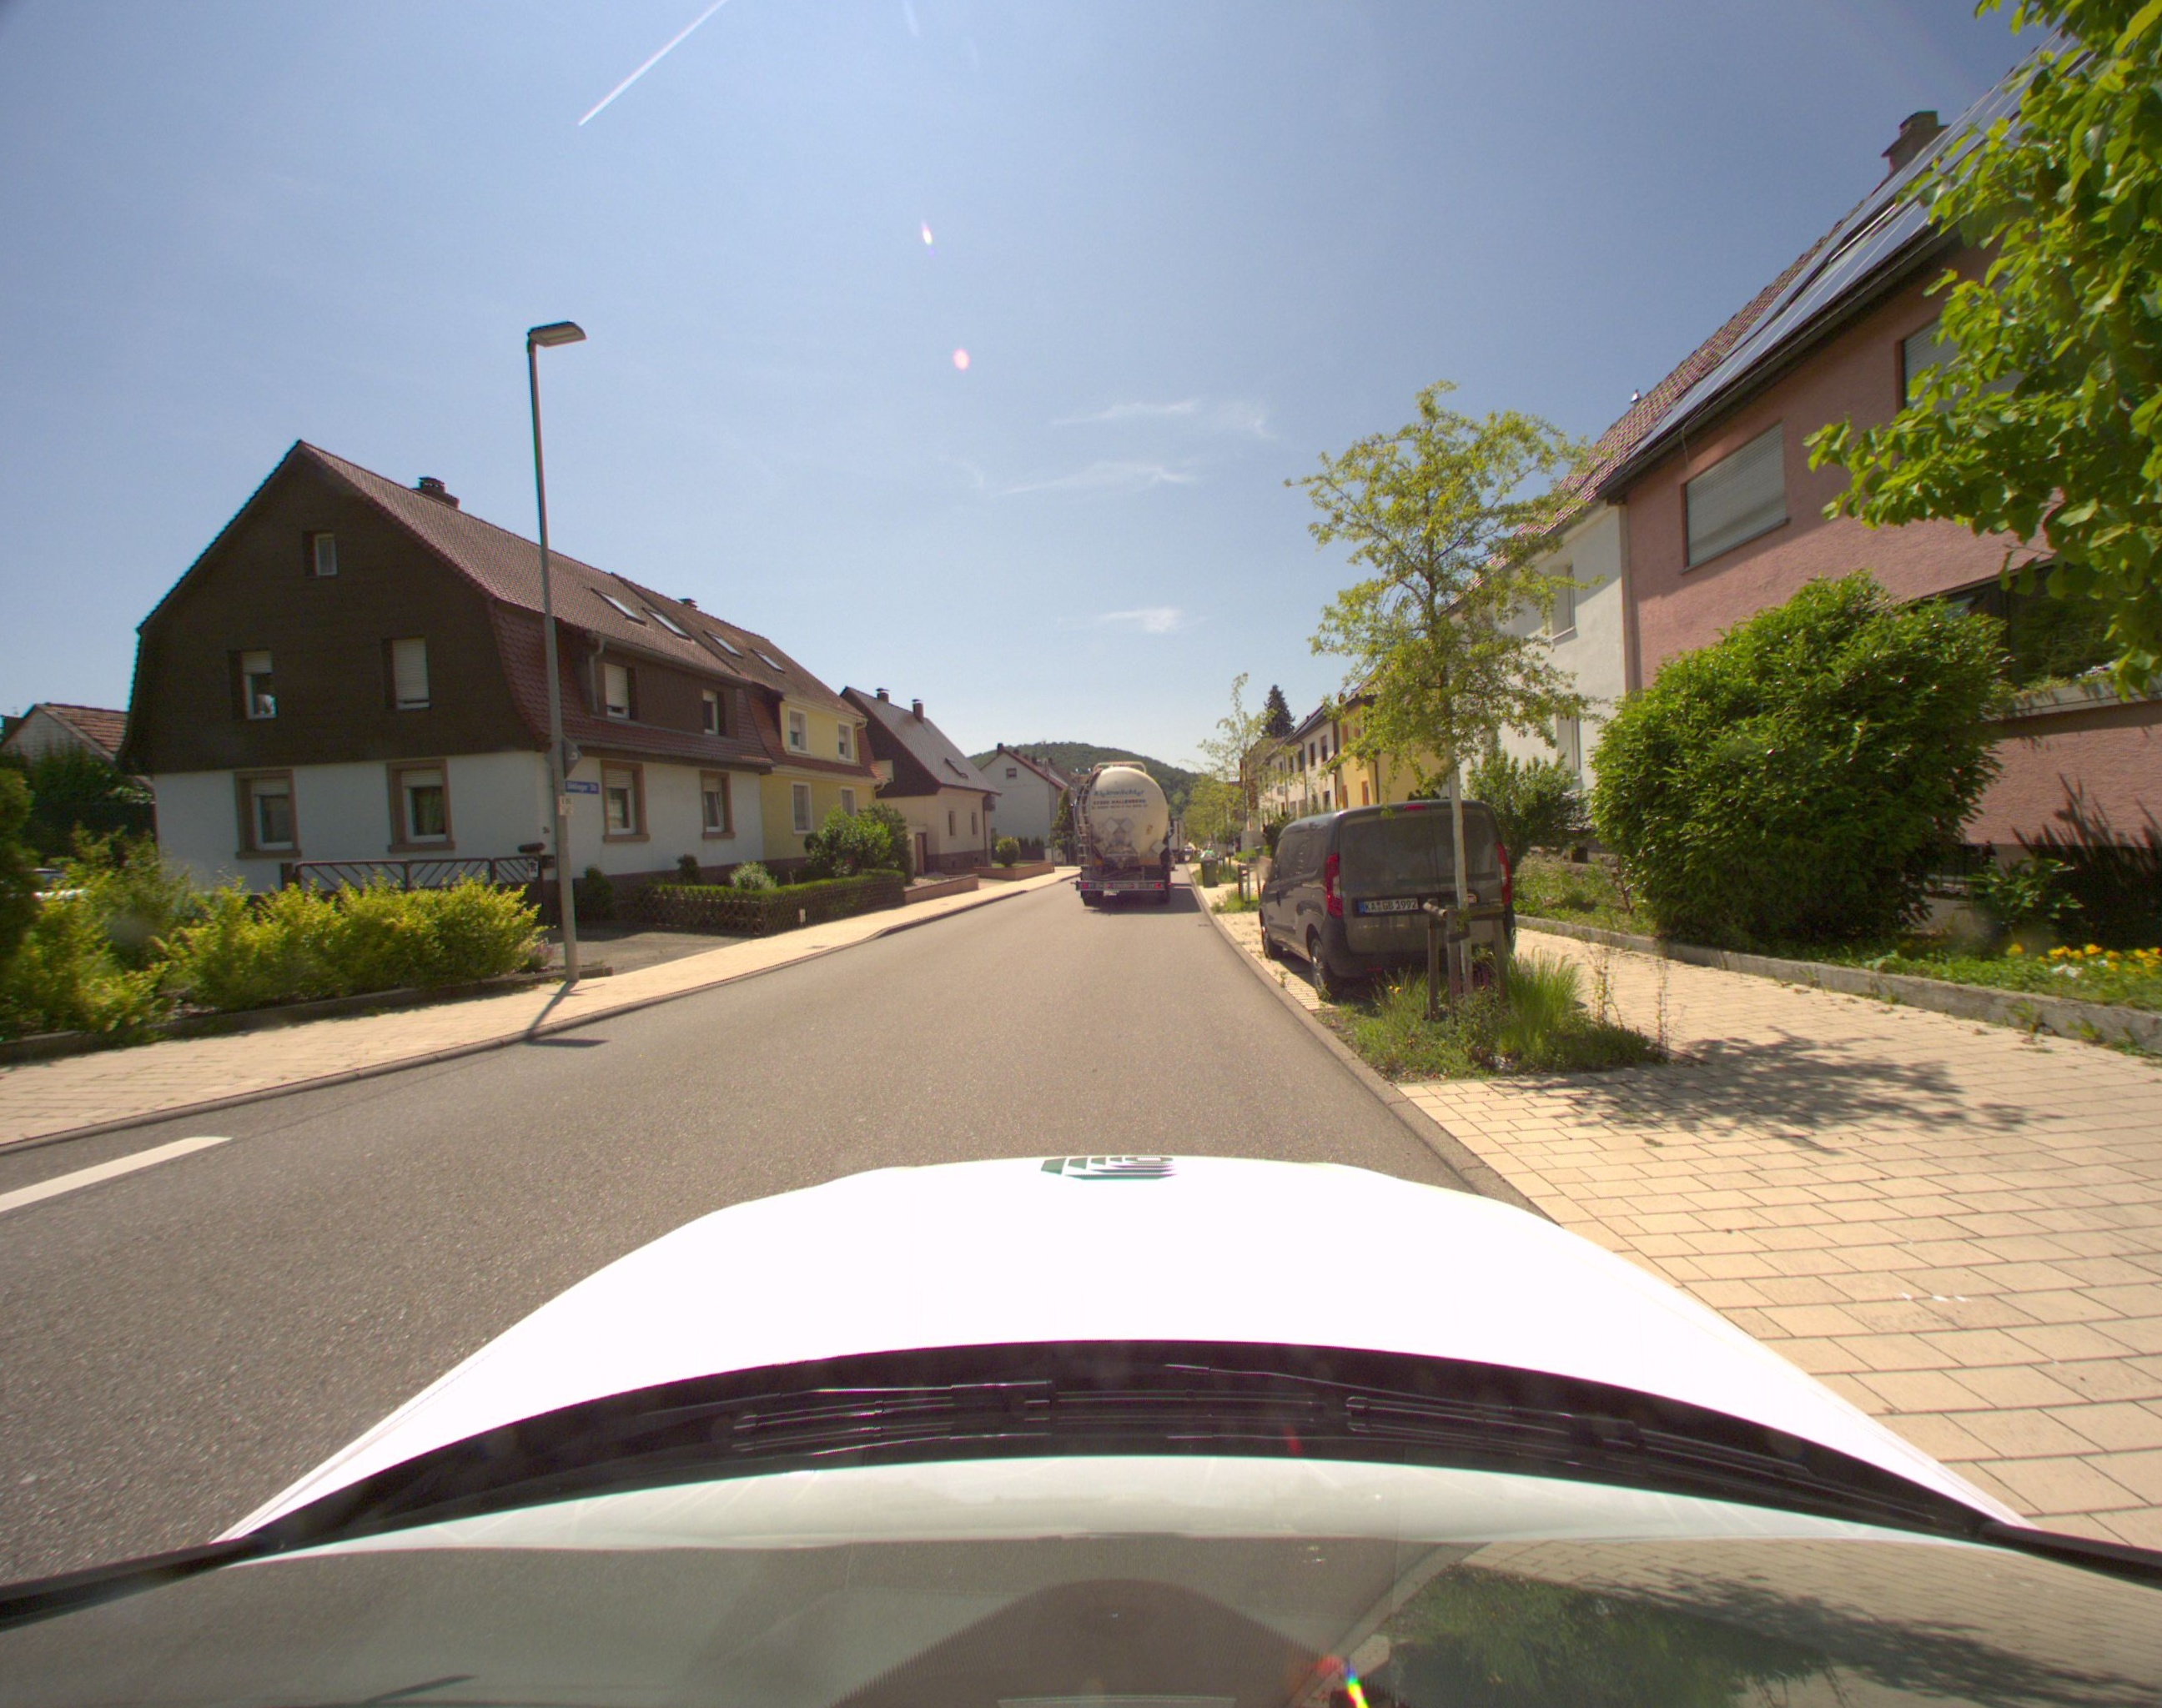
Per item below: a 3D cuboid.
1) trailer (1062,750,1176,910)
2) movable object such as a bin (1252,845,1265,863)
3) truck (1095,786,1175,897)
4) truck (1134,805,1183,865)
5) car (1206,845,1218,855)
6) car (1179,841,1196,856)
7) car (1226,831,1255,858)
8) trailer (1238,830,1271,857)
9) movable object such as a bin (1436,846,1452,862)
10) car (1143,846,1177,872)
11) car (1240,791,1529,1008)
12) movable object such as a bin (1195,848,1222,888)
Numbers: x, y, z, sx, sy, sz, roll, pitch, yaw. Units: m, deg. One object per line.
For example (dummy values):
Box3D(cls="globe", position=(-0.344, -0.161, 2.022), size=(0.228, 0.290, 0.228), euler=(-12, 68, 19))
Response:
Box3D(cls="trailer", position=(1.543, -0.668, 25.888), size=(2.782, 4.000, 10.343), euler=(-2, 1, 6))
Box3D(cls="movable object such as a bin", position=(11.802, 0.005, 54.143), size=(0.679, 1.115, 0.815), euler=(-6, -1, 12))
Box3D(cls="truck", position=(2.240, -0.492, 32.450), size=(2.794, 3.936, 6.109), euler=(-1, 1, 6))
Box3D(cls="truck", position=(7.099, -1.694, 75.216), size=(3.892, 4.895, 9.809), euler=(-3, 0, 5))
Box3D(cls="car", position=(21.919, -0.615, 136.474), size=(1.780, 1.541, 4.530), euler=(-3, 0, 8))
Box3D(cls="car", position=(13.803, -0.689, 105.582), size=(1.984, 1.822, 4.006), euler=(-2, 0, 5))
Box3D(cls="car", position=(13.326, -0.761, 68.353), size=(1.843, 1.970, 4.782), euler=(-8, -1, 7))
Box3D(cls="trailer", position=(13.505, -0.819, 63.323), size=(2.286, 2.013, 1.308), euler=(-2, 0, -41))
Box3D(cls="movable object such as a bin", position=(13.188, 0.002, 29.591), size=(0.451, 0.571, 0.376), euler=(-2, 0, 7))
Box3D(cls="car", position=(5.228, 0.305, 53.556), size=(1.897, 1.554, 4.010), euler=(-3, 0, 9))
Box3D(cls="car", position=(3.170, 0.391, 9.631), size=(1.847, 1.842, 4.675), euler=(-3, 0, 4))
Box3D(cls="movable object such as a bin", position=(4.796, 0.519, 30.652), size=(0.788, 1.395, 0.926), euler=(-6, 0, 4))
